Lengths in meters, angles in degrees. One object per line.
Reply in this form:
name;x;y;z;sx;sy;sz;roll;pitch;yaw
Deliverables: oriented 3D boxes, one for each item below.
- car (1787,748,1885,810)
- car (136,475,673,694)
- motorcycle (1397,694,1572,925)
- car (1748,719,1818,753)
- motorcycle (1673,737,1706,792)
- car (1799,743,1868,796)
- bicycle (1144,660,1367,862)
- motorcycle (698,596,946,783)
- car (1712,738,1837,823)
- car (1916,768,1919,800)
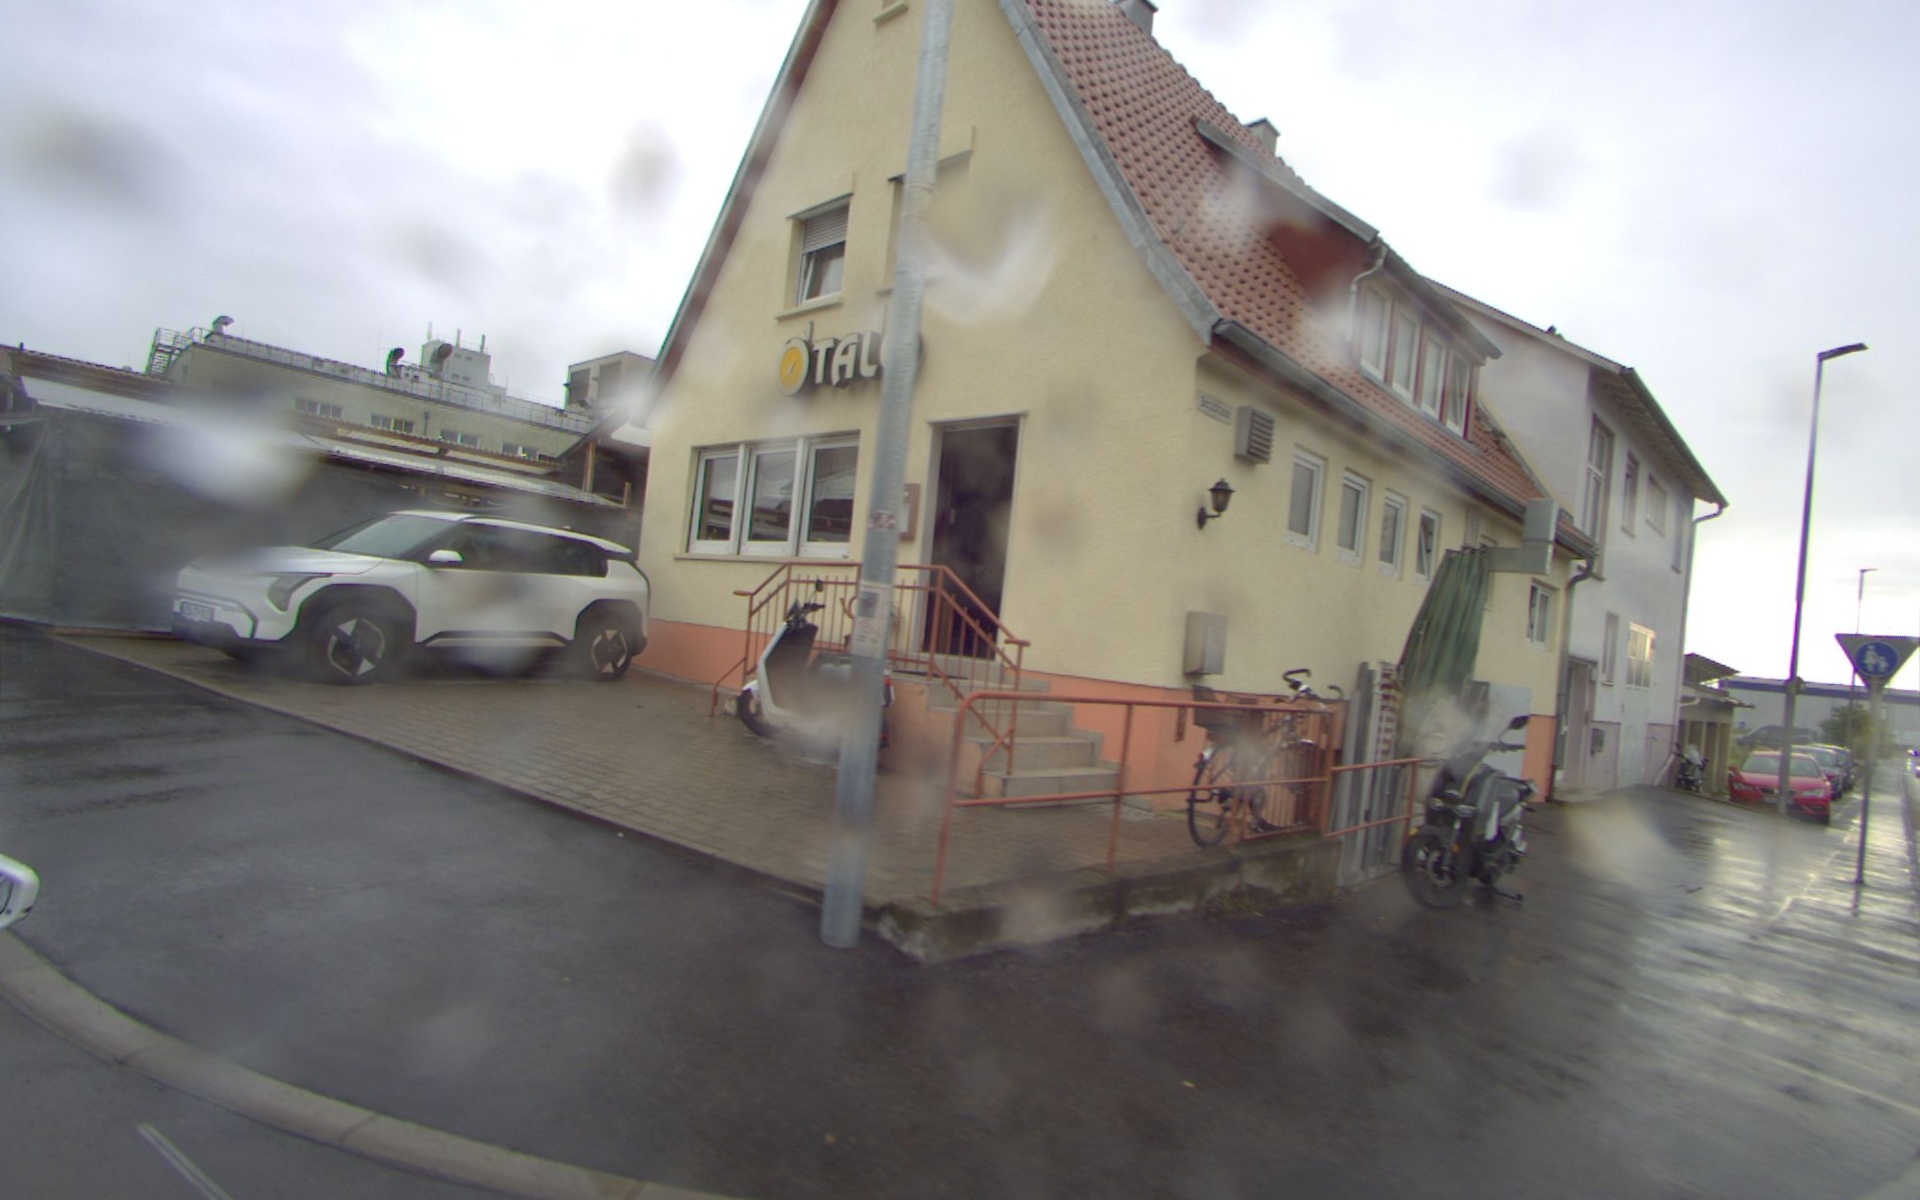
car;29.011;5.860;33.268;4.171;1.527;1.975;8;0;-44
car;-5.123;-0.063;9.921;1.830;1.630;4.221;6;0;30
motorcycle;3.992;1.520;7.558;0.483;1.473;2.029;6;-2;44
car;74.400;12.283;91.055;4.717;2.310;1.994;6;-3;40
motorcycle;17.069;3.822;23.511;0.482;1.164;2.033;6;-2;38
car;36.752;7.059;42.291;1.973;1.803;3.981;5;-2;43
bicycle;1.978;1.040;6.572;1.766;1.109;0.483;9;-1;-45
motorcycle;-1.103;0.639;7.711;1.969;1.109;0.488;7;0;36
car;18.915;4.086;23.315;1.972;1.393;4.240;7;-1;41
car;56.911;10.805;58.265;1.973;1.803;3.981;5;-2;43
